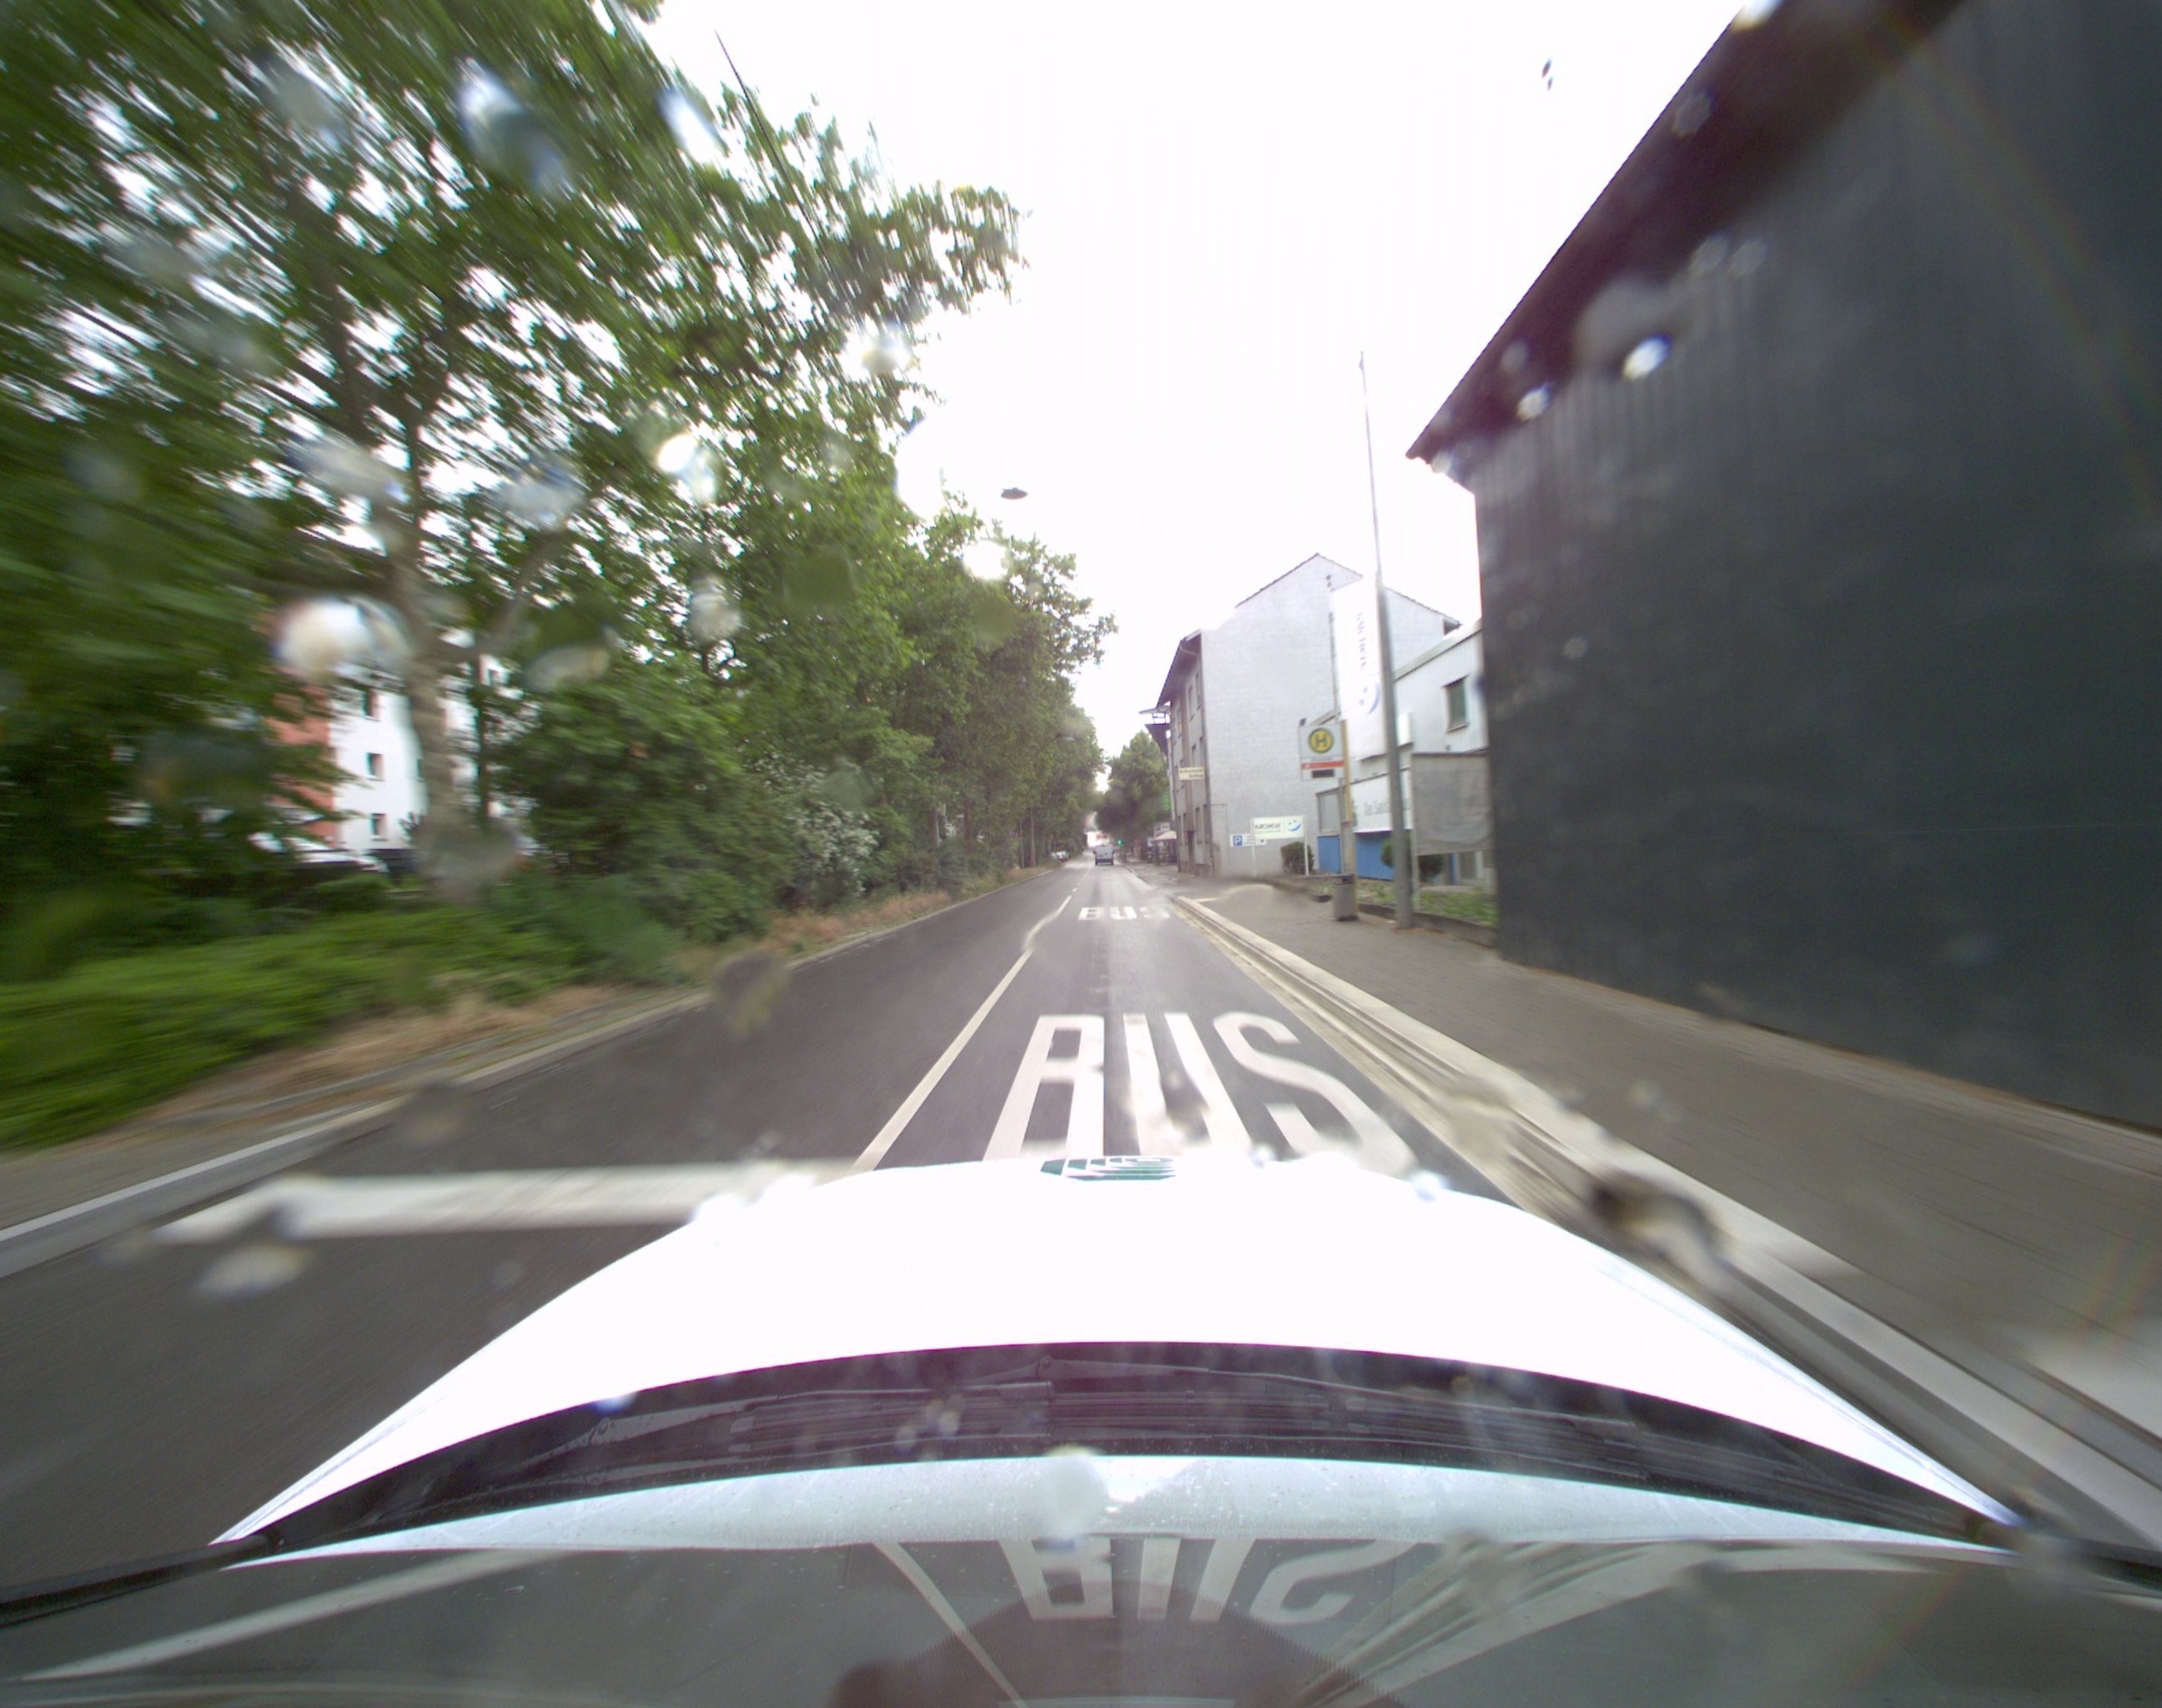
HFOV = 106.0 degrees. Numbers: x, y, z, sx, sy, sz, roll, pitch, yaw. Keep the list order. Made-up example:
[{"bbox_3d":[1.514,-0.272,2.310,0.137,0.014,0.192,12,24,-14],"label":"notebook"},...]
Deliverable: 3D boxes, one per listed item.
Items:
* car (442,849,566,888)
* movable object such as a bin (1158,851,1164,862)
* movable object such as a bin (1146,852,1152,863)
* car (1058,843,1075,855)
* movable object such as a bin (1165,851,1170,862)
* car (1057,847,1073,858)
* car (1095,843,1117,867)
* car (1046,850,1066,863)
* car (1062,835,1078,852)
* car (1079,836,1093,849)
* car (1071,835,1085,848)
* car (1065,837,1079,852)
[{"bbox_3d":[-24.251,0.592,34.299,3.973,1.431,1.665,-3,0,0],"label":"car"},{"bbox_3d":[7.841,0.235,79.816,0.399,1.067,0.358,-2,-2,-5],"label":"movable object such as a bin"},{"bbox_3d":[6.682,0.337,79.780,0.399,1.066,0.358,-6,-2,-5],"label":"movable object such as a bin"},{"bbox_3d":[-2.248,-0.720,129.620,2.206,1.691,4.613,-2,-2,4],"label":"car"},{"bbox_3d":[8.498,0.220,79.795,0.356,1.067,0.358,-1,-2,-5],"label":"movable object such as a bin"},{"bbox_3d":[-2.330,-0.221,123.298,1.986,1.543,4.613,-2,-2,4],"label":"car"},{"bbox_3d":[2.743,0.139,90.158,2.274,2.553,4.001,-3,-2,2],"label":"car"},{"bbox_3d":[-3.287,0.389,109.292,2.206,1.592,4.613,-2,-2,4],"label":"car"},{"bbox_3d":[-1.759,-1.684,135.230,2.206,2.534,4.613,-2,-2,4],"label":"car"},{"bbox_3d":[0.993,-2.321,162.099,2.204,2.294,4.617,-2,-2,6],"label":"car"},{"bbox_3d":[-0.522,-2.374,153.727,2.206,2.294,4.614,-2,-1,4],"label":"car"},{"bbox_3d":[-1.615,-1.692,146.100,2.206,2.294,4.613,-2,-2,4],"label":"car"}]
